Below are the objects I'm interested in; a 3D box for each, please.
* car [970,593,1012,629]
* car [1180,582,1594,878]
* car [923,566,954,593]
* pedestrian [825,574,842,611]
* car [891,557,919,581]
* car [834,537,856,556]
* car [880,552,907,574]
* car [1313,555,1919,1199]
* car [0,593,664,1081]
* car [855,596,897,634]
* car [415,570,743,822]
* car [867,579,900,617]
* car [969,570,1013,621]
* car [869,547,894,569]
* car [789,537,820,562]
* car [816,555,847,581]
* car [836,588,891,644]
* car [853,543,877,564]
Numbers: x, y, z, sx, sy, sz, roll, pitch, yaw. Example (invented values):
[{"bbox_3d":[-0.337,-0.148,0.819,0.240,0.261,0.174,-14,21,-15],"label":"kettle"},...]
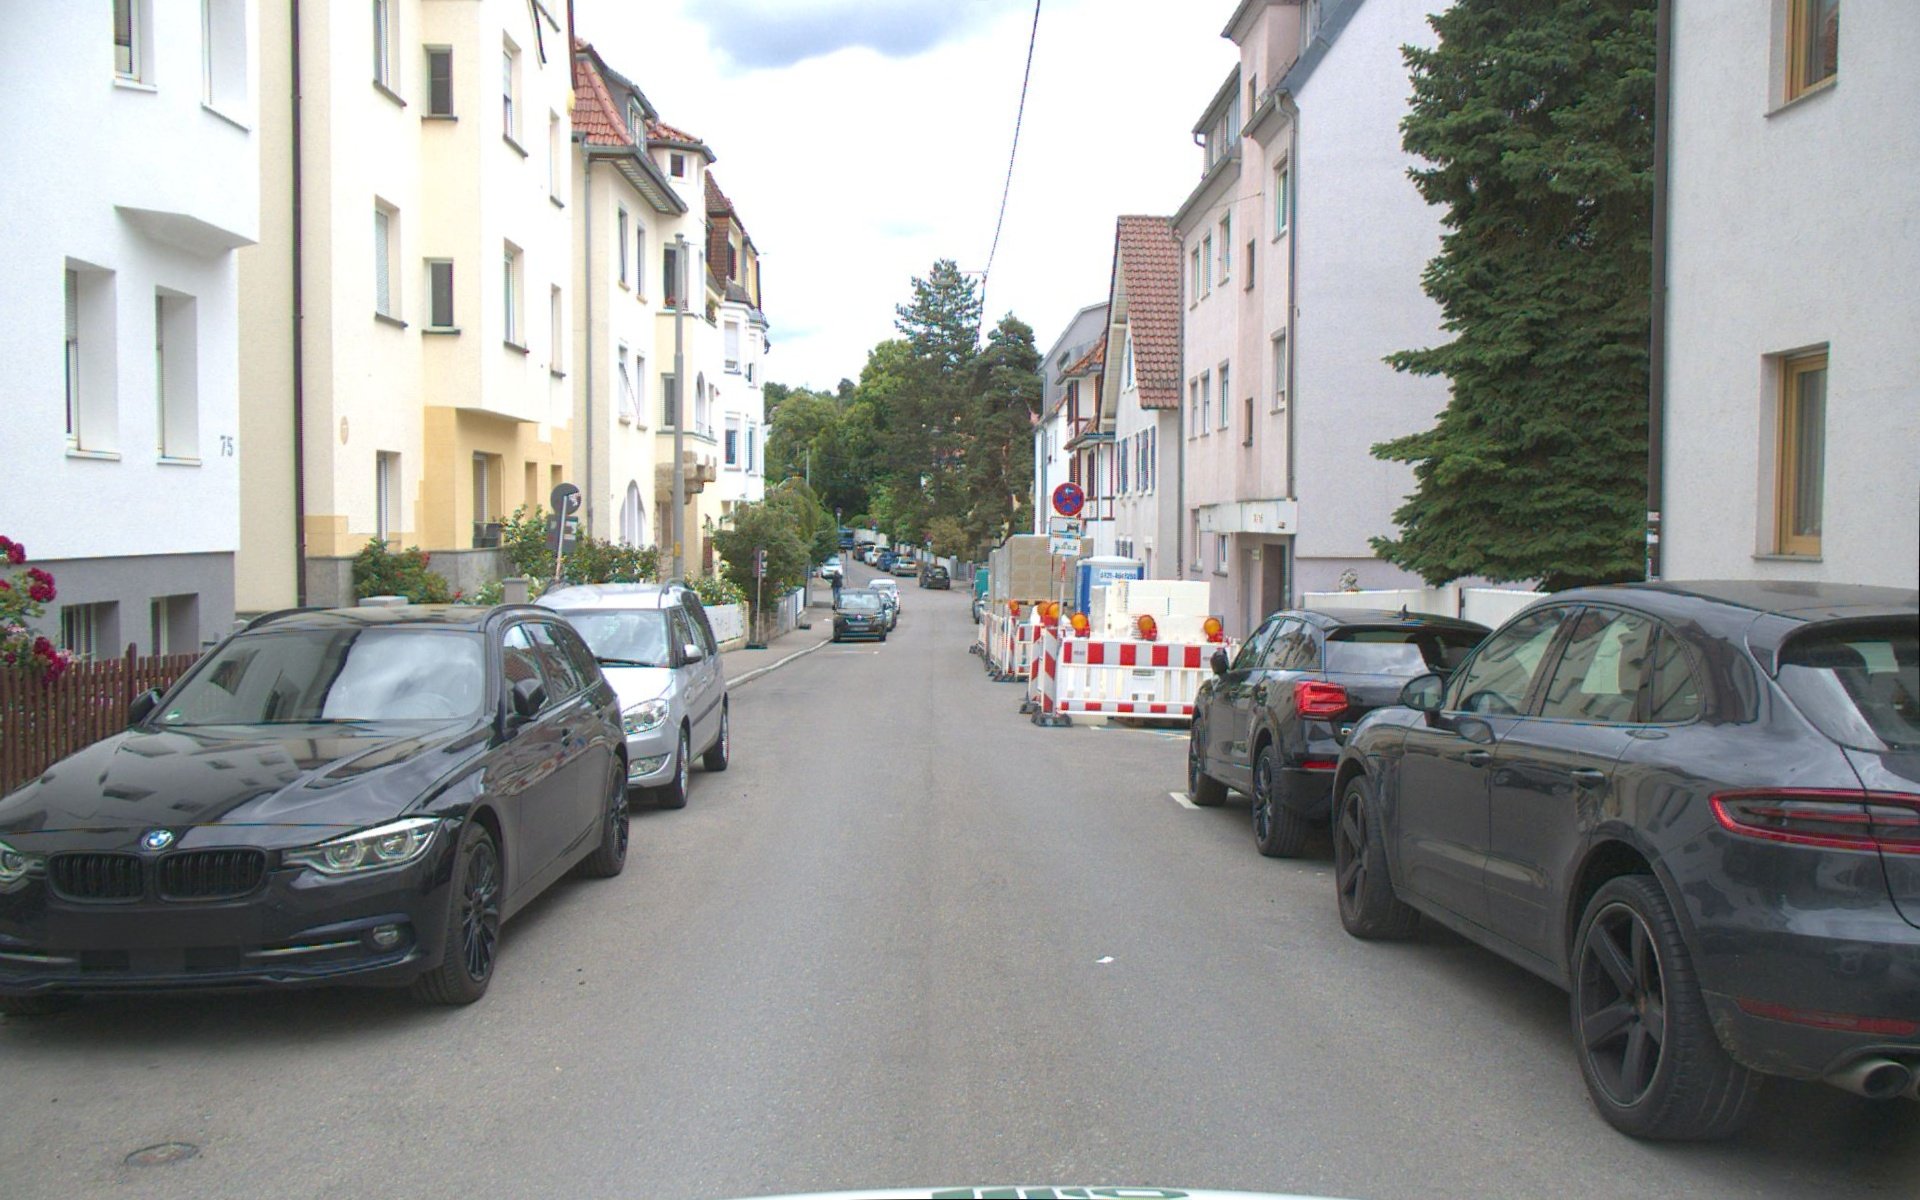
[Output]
[{"bbox_3d":[1.392,0.474,75.559,1.690,1.473,3.880,0,2,-2],"label":"car"},{"bbox_3d":[2.654,0.705,11.257,1.680,1.593,4.072,2,1,-1],"label":"car"},{"bbox_3d":[-1.472,-1.400,112.047,1.604,1.509,3.525,1,4,-9],"label":"car"},{"bbox_3d":[-6.834,-0.406,89.432,0.775,1.966,0.919,1,1,1],"label":"pedestrian"},{"bbox_3d":[-4.113,-2.347,124.052,1.604,1.509,3.524,1,4,-10],"label":"car"},{"bbox_3d":[-10.790,-5.047,154.918,1.604,1.563,3.524,1,4,-10],"label":"car"},{"bbox_3d":[-5.213,-2.872,128.652,1.604,1.509,3.524,1,4,-10],"label":"car"},{"bbox_3d":[2.731,0.699,6.133,1.679,1.624,4.497,2,1,-2],"label":"car"},{"bbox_3d":[-2.599,0.733,7.357,1.807,1.483,4.503,-1,0,-1],"label":"car"},{"bbox_3d":[-3.402,0.605,67.428,1.609,1.441,3.982,-1,1,-2],"label":"car"},{"bbox_3d":[-2.797,0.633,13.085,1.808,1.659,4.284,0,0,-3],"label":"car"},{"bbox_3d":[-3.925,-0.128,85.735,1.639,1.685,3.863,-1,4,-2],"label":"car"},{"bbox_3d":[1.497,-0.270,82.166,1.940,2.403,4.276,0,2,-2],"label":"car"},{"bbox_3d":[-6.407,-3.468,134.705,1.604,1.563,3.524,1,4,-10],"label":"car"},{"bbox_3d":[-13.149,-4.279,139.941,1.872,1.908,4.578,-2,4,-15],"label":"car"},{"bbox_3d":[-9.451,-2.356,121.396,1.644,1.685,3.850,-2,4,-14],"label":"car"},{"bbox_3d":[-3.357,0.509,57.041,1.808,1.847,4.541,-1,0,-4],"label":"car"},{"bbox_3d":[-8.064,-3.928,140.435,1.604,1.563,3.524,1,4,-10],"label":"car"}]
